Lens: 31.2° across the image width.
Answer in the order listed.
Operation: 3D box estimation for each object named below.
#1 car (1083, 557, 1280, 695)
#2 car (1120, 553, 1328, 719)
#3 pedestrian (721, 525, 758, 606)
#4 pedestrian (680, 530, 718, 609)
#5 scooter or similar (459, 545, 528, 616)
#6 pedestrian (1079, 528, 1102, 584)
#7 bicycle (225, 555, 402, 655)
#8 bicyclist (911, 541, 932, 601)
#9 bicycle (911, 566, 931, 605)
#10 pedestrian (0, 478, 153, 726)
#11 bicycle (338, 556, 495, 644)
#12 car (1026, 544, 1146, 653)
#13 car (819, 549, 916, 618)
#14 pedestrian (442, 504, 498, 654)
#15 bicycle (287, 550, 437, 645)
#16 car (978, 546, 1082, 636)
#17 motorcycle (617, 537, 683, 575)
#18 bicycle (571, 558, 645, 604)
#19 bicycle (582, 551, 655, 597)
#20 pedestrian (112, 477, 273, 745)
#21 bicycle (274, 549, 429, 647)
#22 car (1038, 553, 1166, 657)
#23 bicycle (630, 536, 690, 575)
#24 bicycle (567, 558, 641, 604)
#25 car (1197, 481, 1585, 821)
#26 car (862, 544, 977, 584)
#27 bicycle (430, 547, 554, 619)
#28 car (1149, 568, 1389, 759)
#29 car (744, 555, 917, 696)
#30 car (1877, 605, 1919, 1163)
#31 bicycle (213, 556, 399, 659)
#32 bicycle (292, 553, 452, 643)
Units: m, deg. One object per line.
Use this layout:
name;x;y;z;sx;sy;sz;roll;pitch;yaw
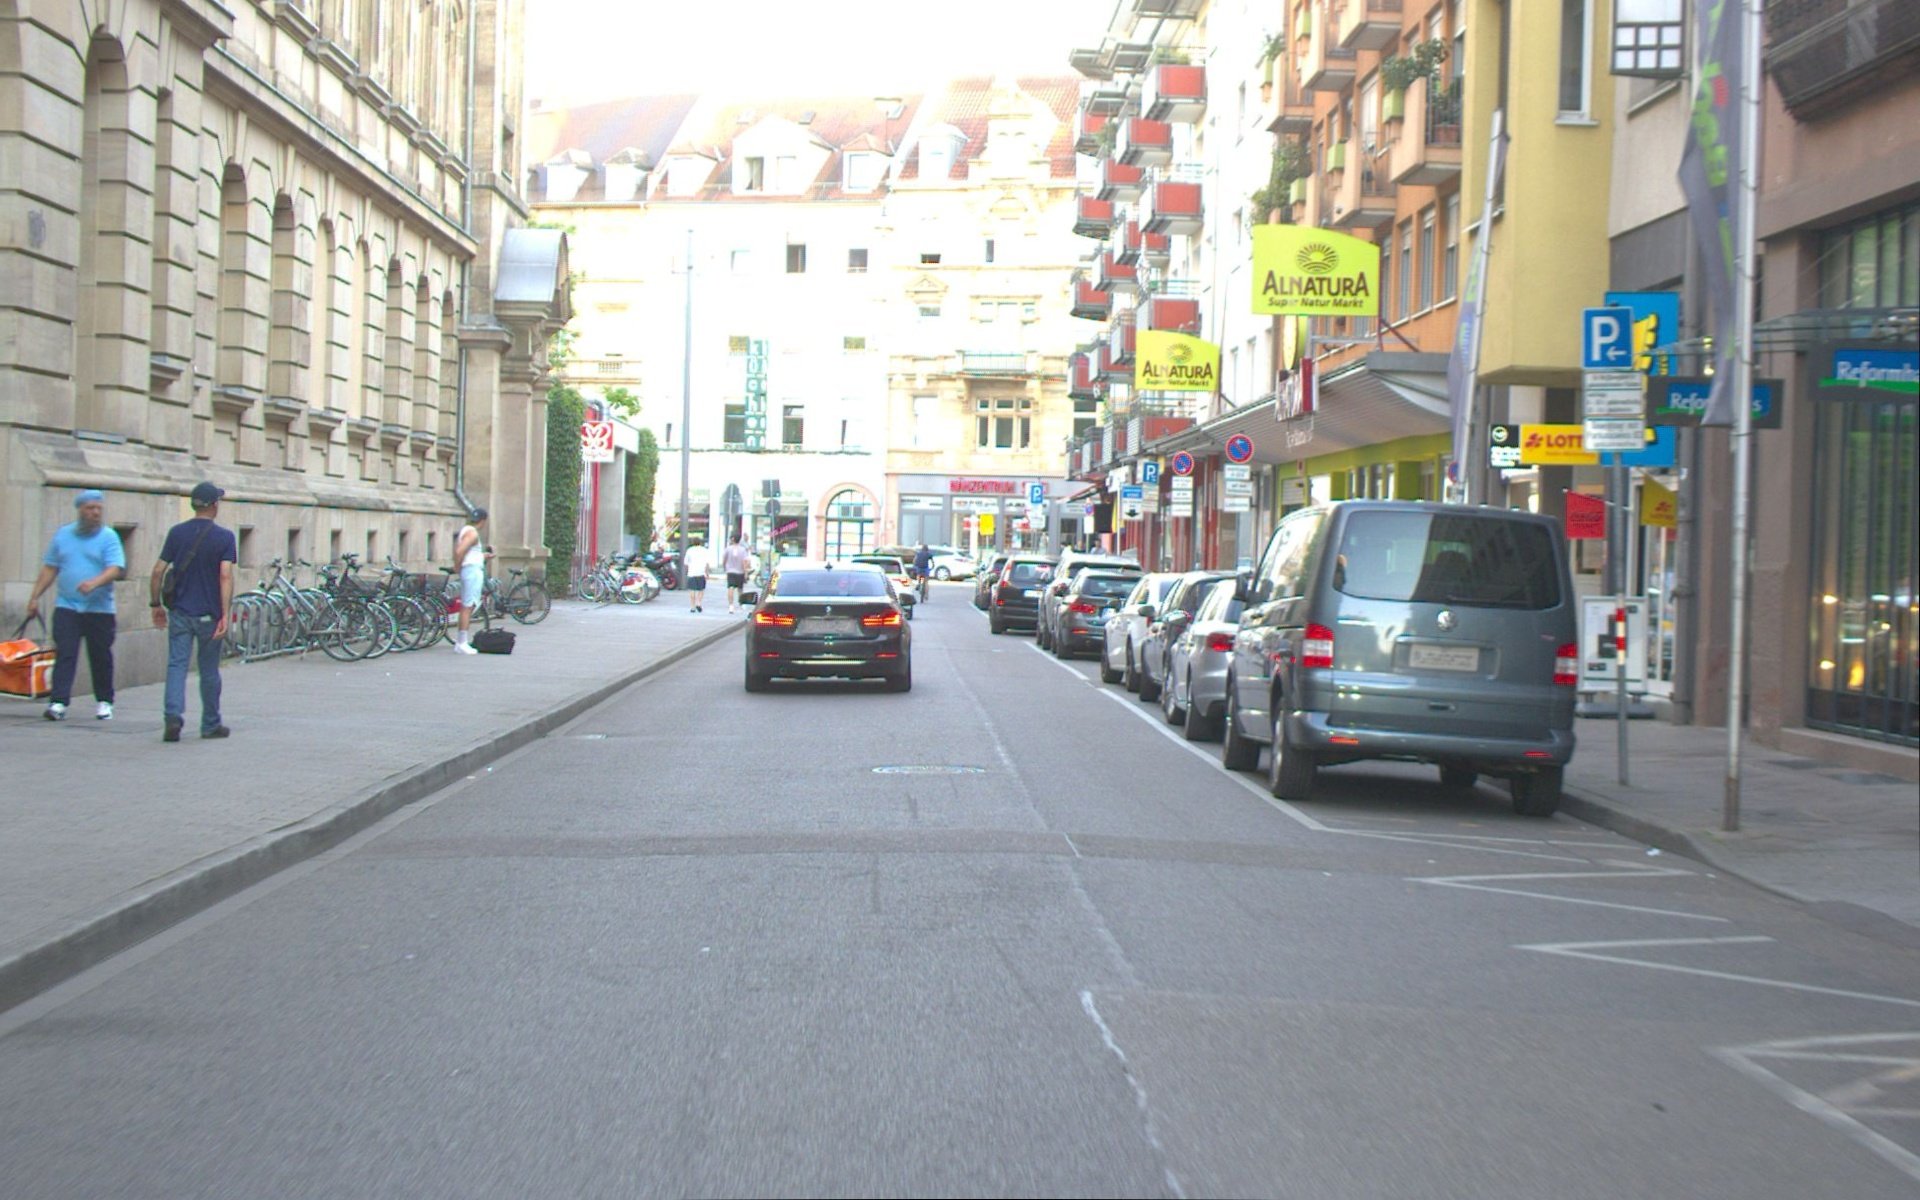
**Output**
car;2.610;0.273;41.450;1.691;1.406;4.640;4;1;-4
car;2.724;0.333;36.280;1.618;1.511;4.174;4;1;-2
pedestrian;-5.242;-0.824;81.802;0.744;1.887;1.050;3;1;0
pedestrian;-6.182;-0.732;81.491;0.741;1.806;1.009;4;1;-2
scooter or similar;-8.388;-0.356;61.854;1.132;1.228;0.497;2;1;-13
pedestrian;3.892;-1.314;102.441;0.648;1.655;0.655;-1;1;1
bicycle;-7.499;0.052;39.936;1.937;1.058;0.620;3;0;-7
bicyclist;-1.133;-0.866;101.275;0.523;1.750;0.620;2;1;0
bicycle;-1.147;-0.437;101.303;0.536;1.104;1.800;2;1;0
pedestrian;-6.473;0.007;25.216;0.828;1.740;0.769;4;1;-1
bicycle;-7.136;-0.004;45.218;1.937;1.058;0.620;3;0;-3
car;2.130;-0.059;59.266;1.752;1.662;4.757;4;1;-1
car;-2.065;-0.385;77.850;1.877;1.468;4.000;1;1;3
pedestrian;-6.200;-0.273;43.533;0.588;1.845;0.754;3;1;-7
bicycle;-7.533;-0.035;43.355;1.794;1.104;0.500;3;0;-7
car;1.429;-0.208;68.505;1.794;1.604;4.486;4;1;3
motorcycle;-9.366;-1.330;103.778;1.802;1.060;0.763;3;1;25
bicycle;-8.852;-0.481;86.486;1.794;1.104;0.500;2;1;-1
bicycle;-8.846;-0.671;89.006;1.794;1.104;0.500;2;1;2
pedestrian;-5.211;0.070;23.394;0.809;1.744;0.969;3;0;-1
bicycle;-7.455;-0.024;42.156;1.794;1.104;0.500;3;0;-7
car;2.202;0.044;54.298;1.691;1.410;4.757;4;1;-1
bicycle;-9.286;-1.371;106.556;1.794;1.104;0.500;3;1;-6
bicycle;-8.988;-0.491;86.830;1.794;1.104;0.500;2;1;-2
car;2.878;0.299;24.074;1.846;2.051;5.054;3;0;-2
car;-1.673;-1.477;142.013;4.356;1.557;1.866;1;0;22
bicycle;-7.911;-0.291;58.072;1.936;1.058;0.620;5;0;-16
car;2.722;0.514;31.167;1.687;1.448;4.498;4;1;0
car;-1.393;0.235;38.574;1.765;1.370;4.791;2;1;-1
car;3.402;0.791;7.151;1.656;1.443;4.308;3;0;-2
bicycle;-7.354;0.082;38.690;1.937;1.058;0.620;3;0;-2
bicycle;-7.544;-0.026;44.170;1.937;1.058;0.620;3;0;-7
